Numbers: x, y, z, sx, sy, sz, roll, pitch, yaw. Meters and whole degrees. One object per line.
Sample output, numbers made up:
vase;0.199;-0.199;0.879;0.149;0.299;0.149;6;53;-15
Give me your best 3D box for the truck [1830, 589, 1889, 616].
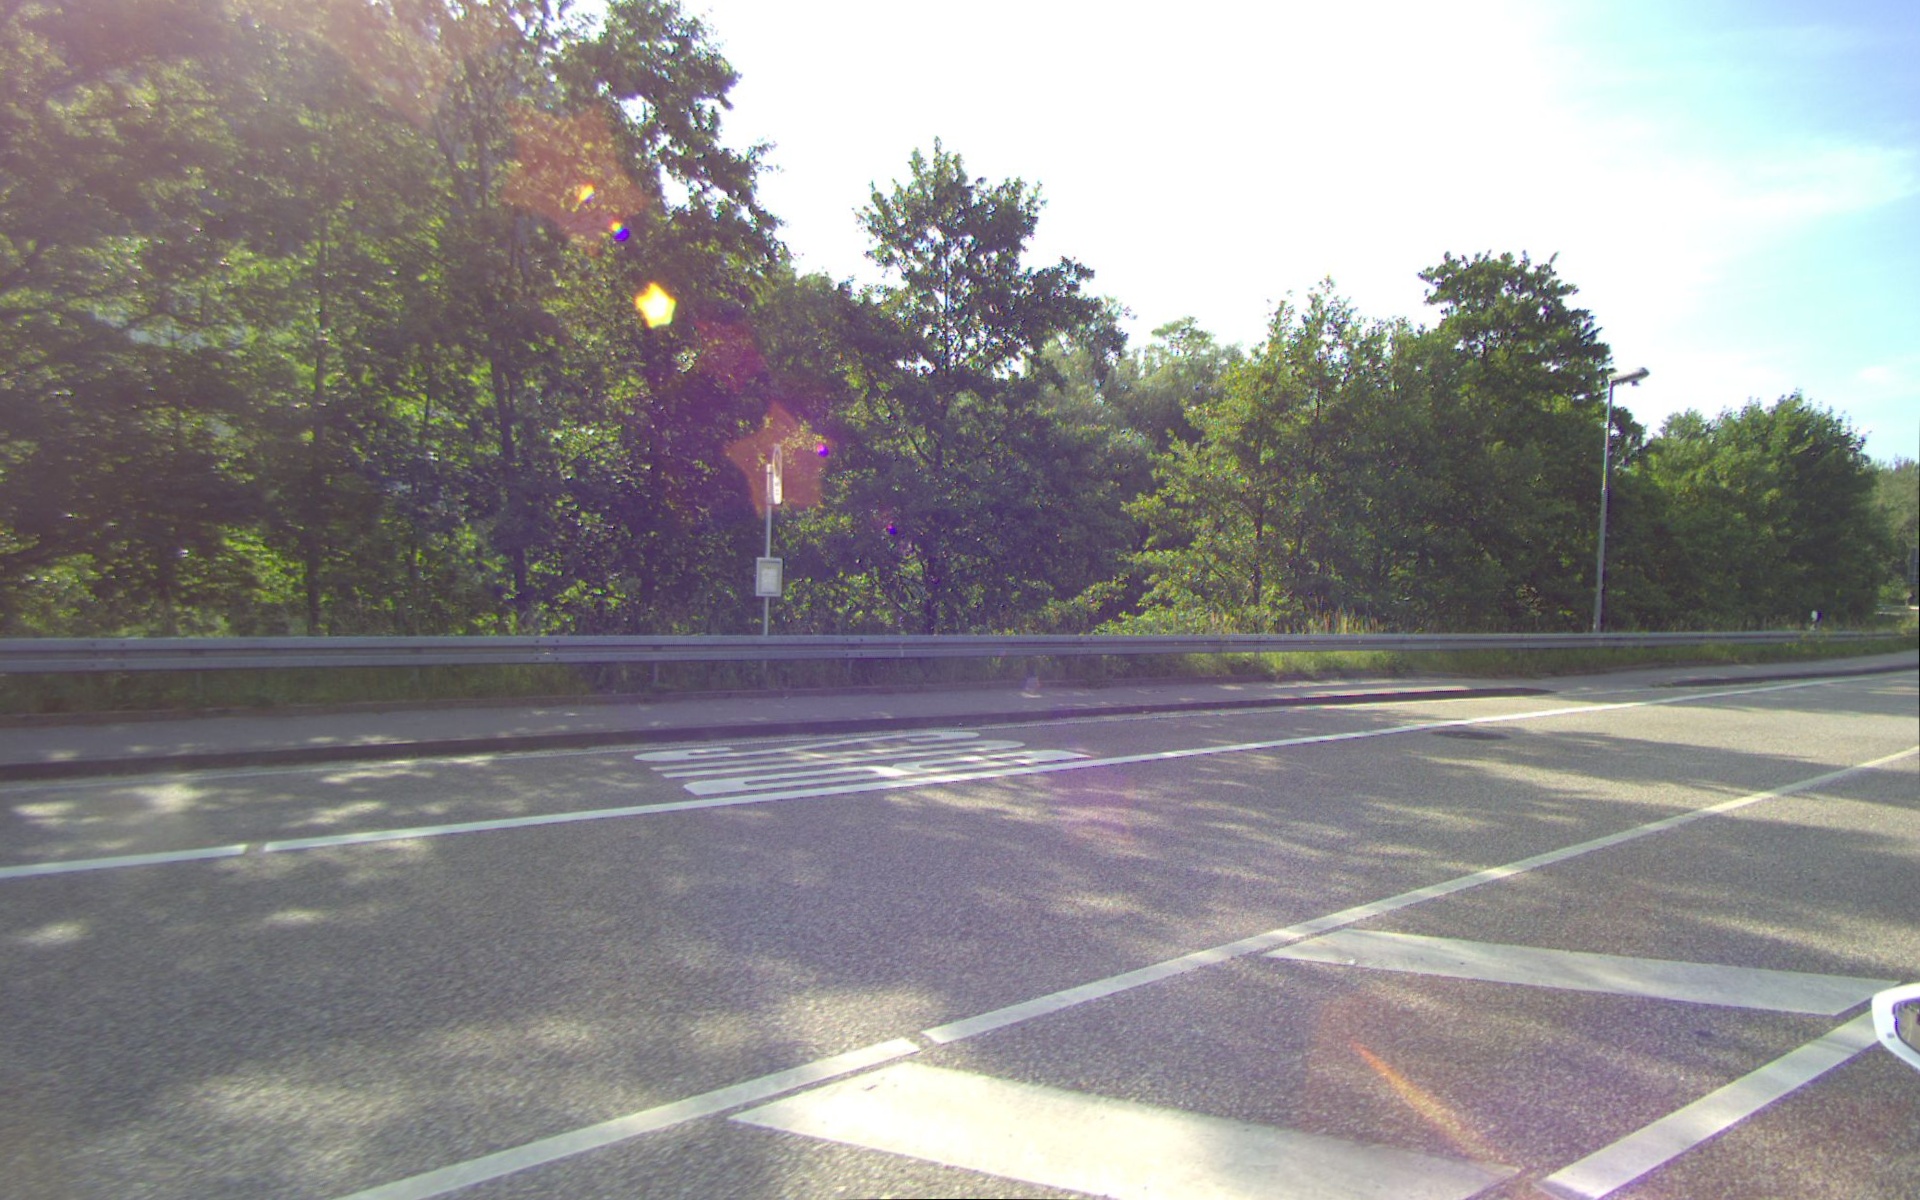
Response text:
truck;110.415;0.273;123.374;2.665;3.125;6.111;1;1;13
